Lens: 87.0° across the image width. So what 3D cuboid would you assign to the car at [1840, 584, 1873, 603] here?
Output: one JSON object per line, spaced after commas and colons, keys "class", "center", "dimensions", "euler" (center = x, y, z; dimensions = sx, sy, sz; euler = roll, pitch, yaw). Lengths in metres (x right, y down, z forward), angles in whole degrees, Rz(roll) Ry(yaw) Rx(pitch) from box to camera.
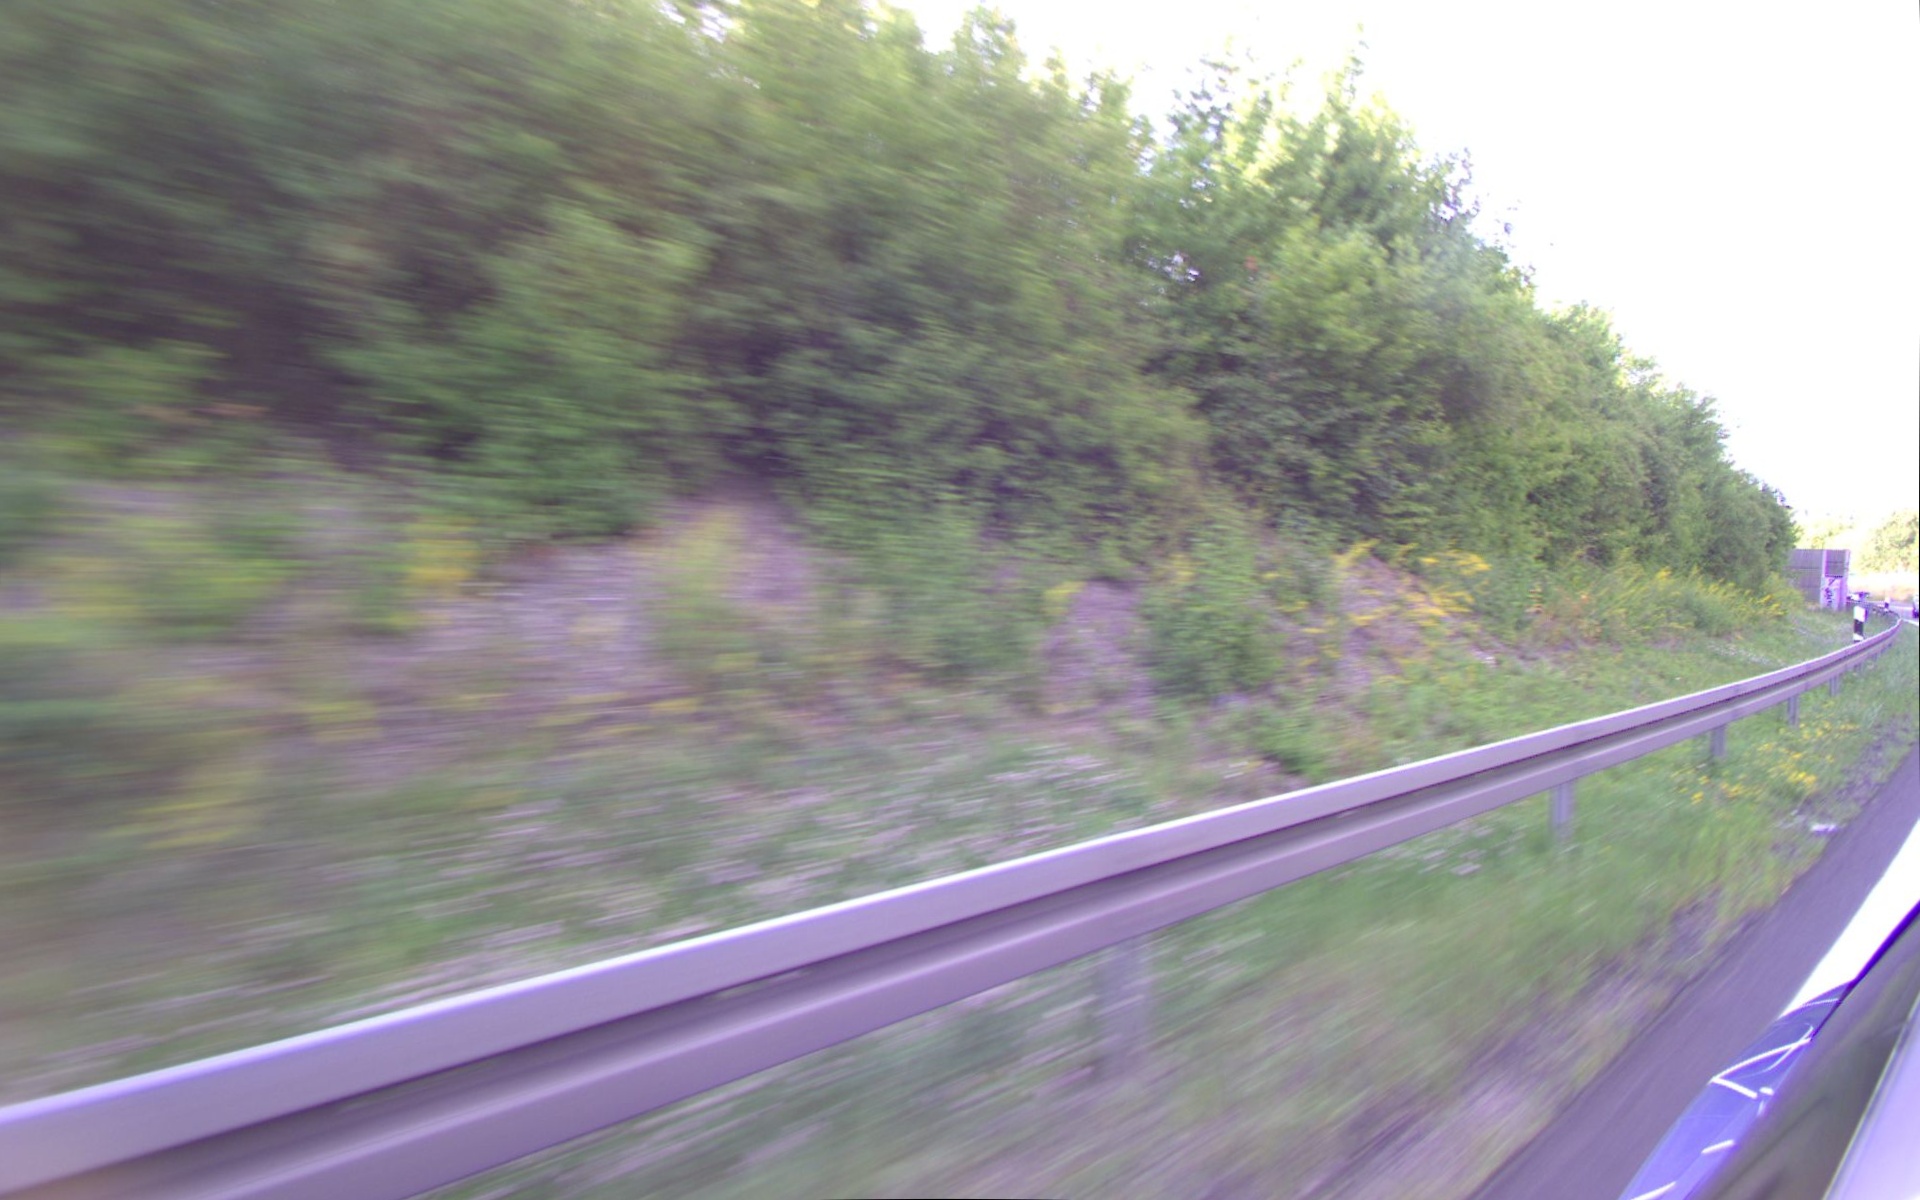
{"class": "car", "center": [74.923, -0.578, 84.585], "dimensions": [1.611, 1.478, 3.617], "euler": [1, 2, 35]}
